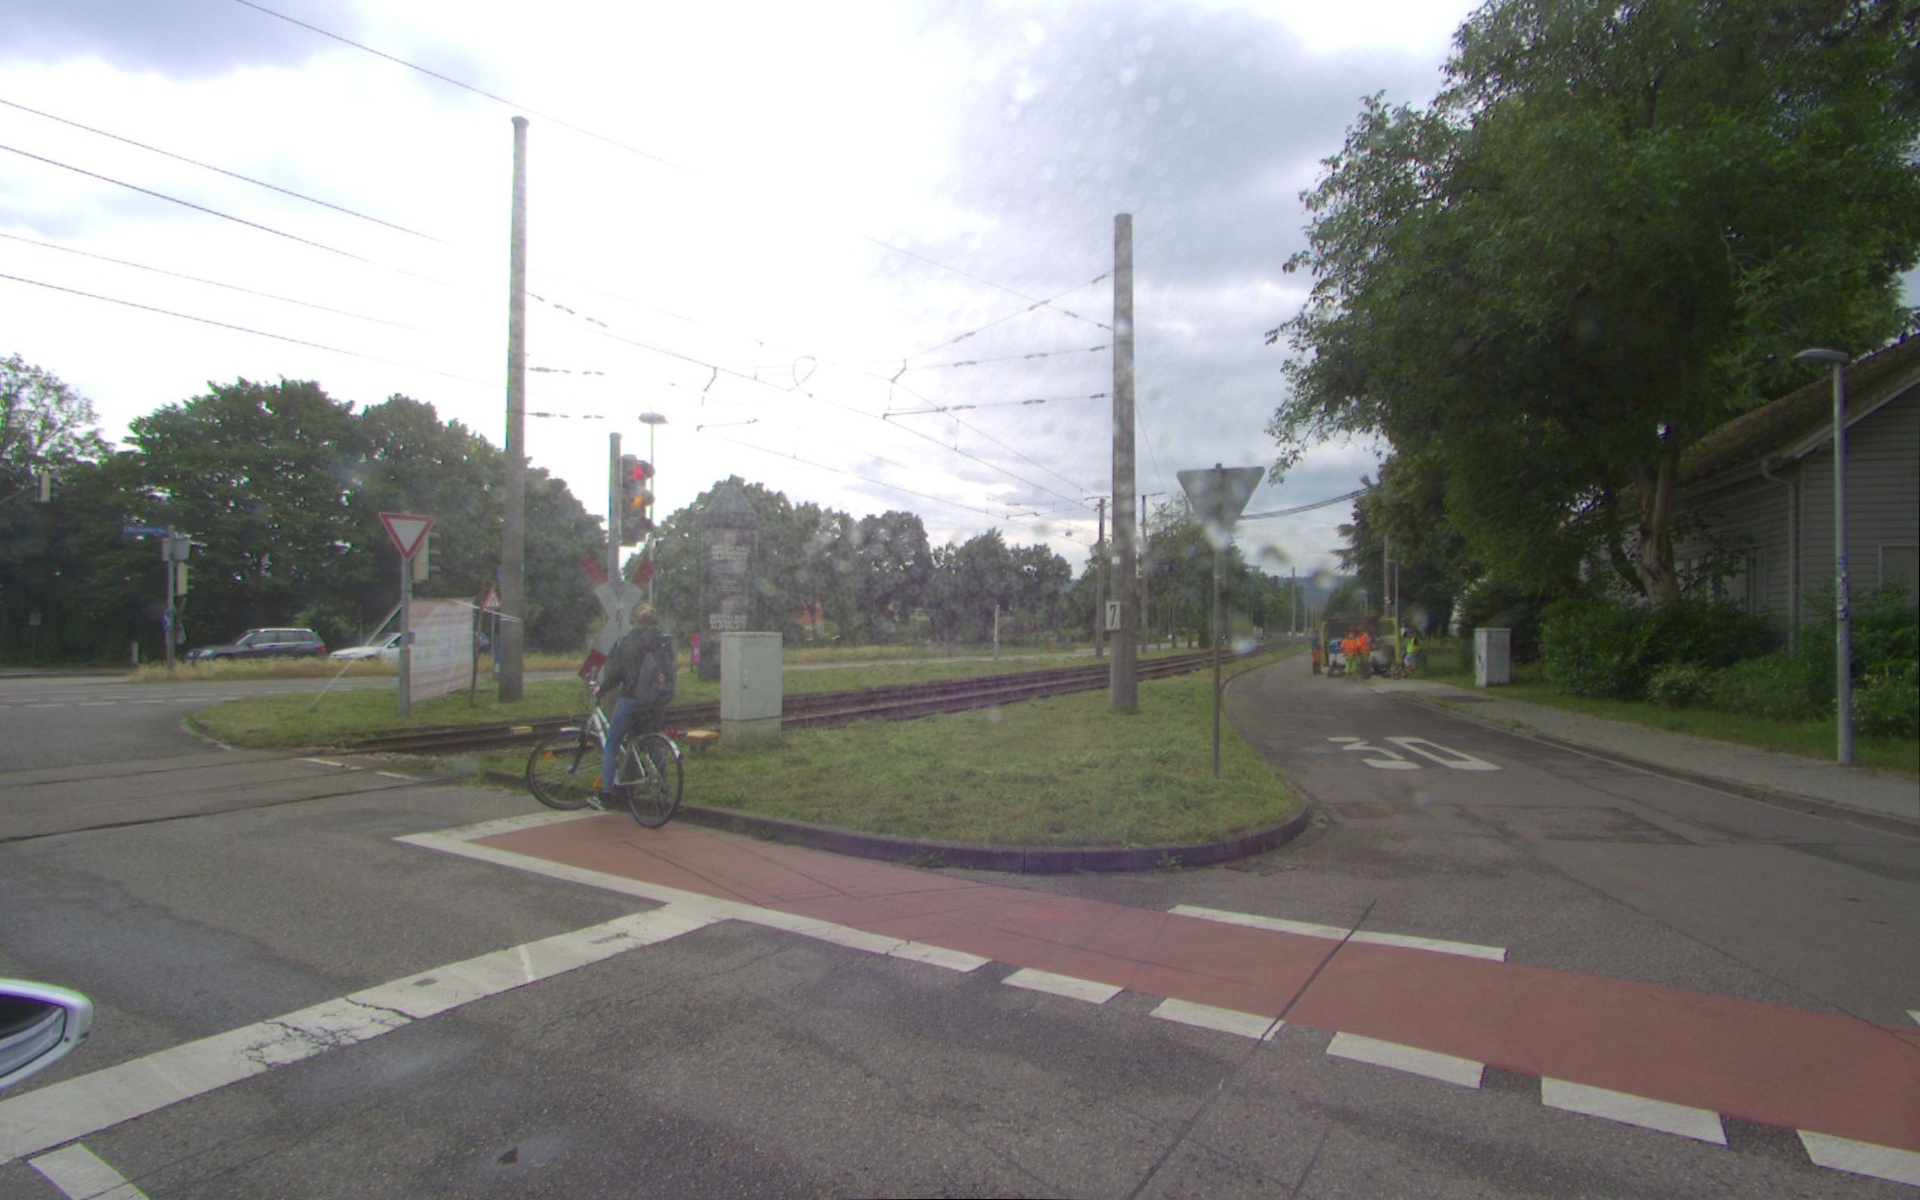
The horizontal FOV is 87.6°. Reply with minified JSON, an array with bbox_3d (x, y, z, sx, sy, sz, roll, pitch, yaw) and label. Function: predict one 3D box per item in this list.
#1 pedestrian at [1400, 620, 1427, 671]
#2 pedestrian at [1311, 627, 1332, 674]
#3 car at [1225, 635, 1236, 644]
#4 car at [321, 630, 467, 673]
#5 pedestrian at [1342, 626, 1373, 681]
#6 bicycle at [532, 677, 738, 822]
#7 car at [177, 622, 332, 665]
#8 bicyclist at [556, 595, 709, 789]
[{"bbox_3d":[16.595,1.659,36.672,0.598,1.864,0.712,1,-1,-13],"label":"pedestrian"},{"bbox_3d":[14.809,2.050,41.055,0.757,1.892,0.604,0,-1,17],"label":"pedestrian"},{"bbox_3d":[52.429,7.626,194.075,1.964,1.829,3.996,-1,-2,16],"label":"car"},{"bbox_3d":[-19.601,1.760,34.841,1.624,1.374,4.129,0,-2,33],"label":"car"},{"bbox_3d":[13.900,1.849,35.002,0.862,1.878,0.676,1,-1,34],"label":"pedestrian"},{"bbox_3d":[-2.623,1.137,7.964,2.001,0.993,0.382,-1,-2,32],"label":"bicycle"},{"bbox_3d":[-26.536,1.614,37.809,1.820,1.523,4.456,0,-2,33],"label":"car"},{"bbox_3d":[-2.600,0.718,7.975,0.947,1.441,0.621,-1,-5,32],"label":"bicyclist"}]
